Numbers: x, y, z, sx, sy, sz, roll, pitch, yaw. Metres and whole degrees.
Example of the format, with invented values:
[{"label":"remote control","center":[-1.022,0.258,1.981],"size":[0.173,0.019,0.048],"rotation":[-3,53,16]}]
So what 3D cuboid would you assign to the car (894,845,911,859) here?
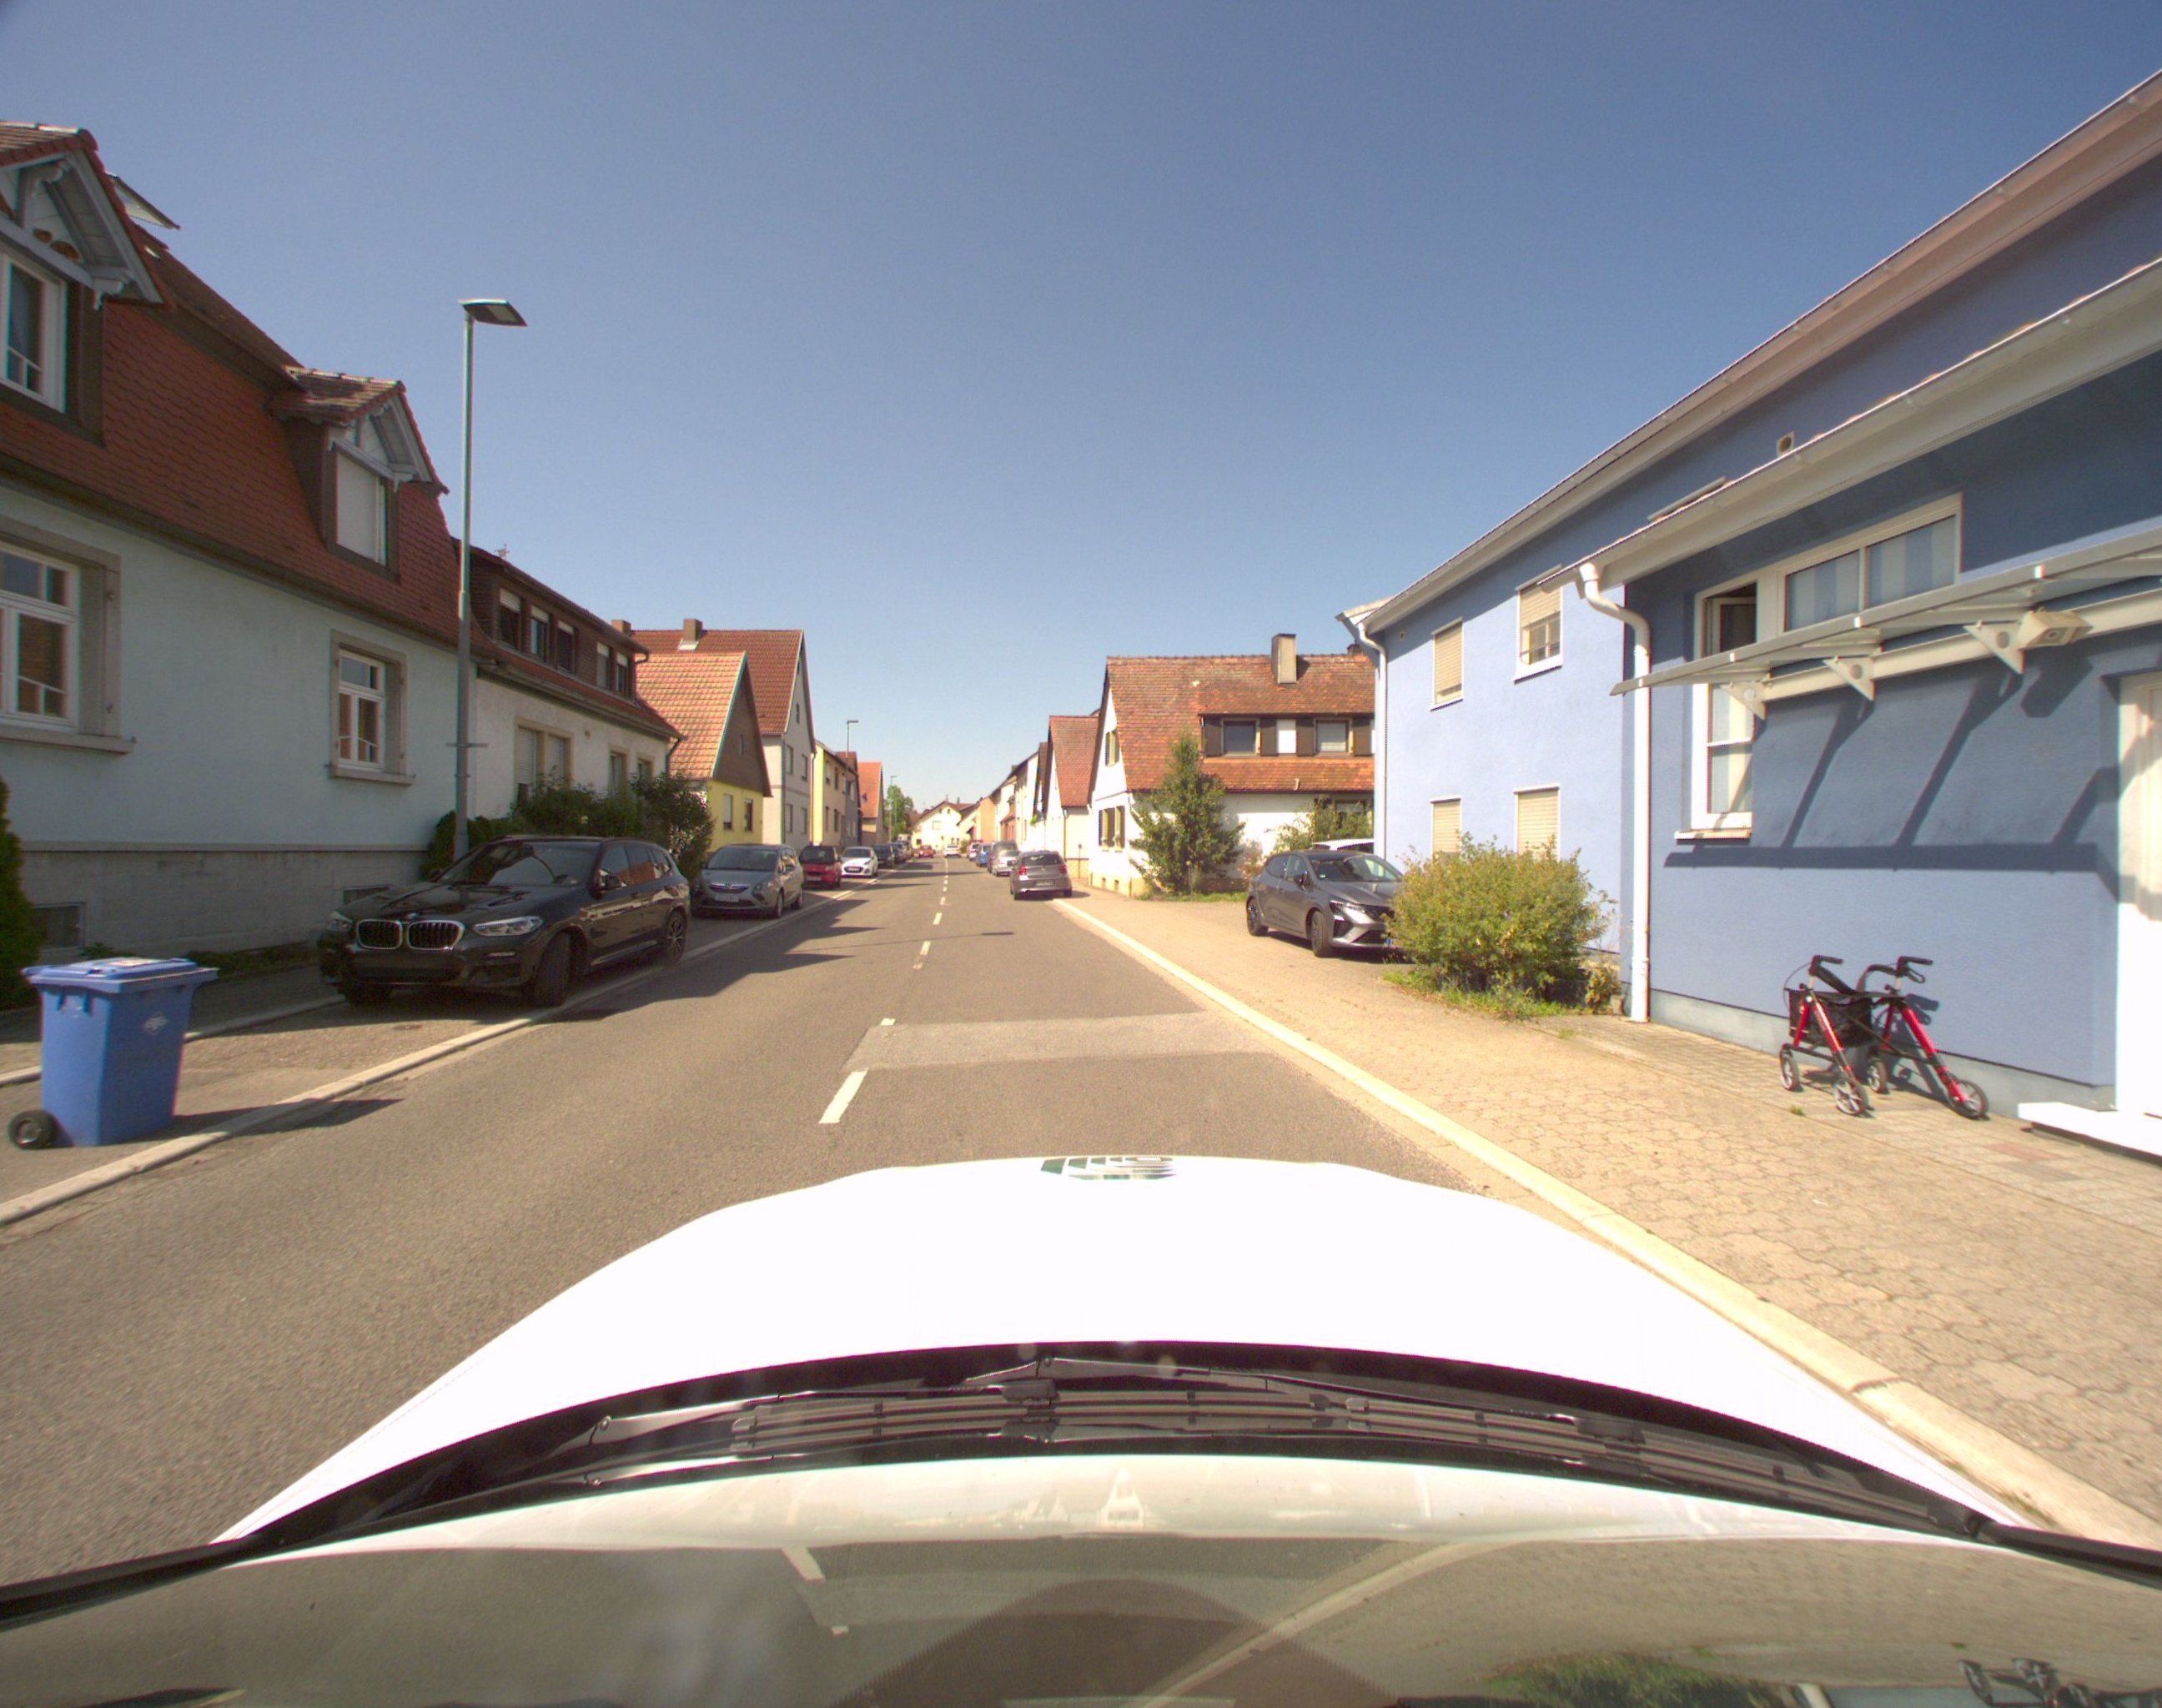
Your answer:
[{"label":"car","center":[-17.976,-0.196,82.211],"size":[1.527,1.356,3.613],"rotation":[1,0,-10]}]

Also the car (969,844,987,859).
[{"label":"car","center":[-10.436,-0.270,82.421],"size":[1.766,1.433,3.440],"rotation":[0,0,-9]}]

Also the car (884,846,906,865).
[{"label":"car","center":[-14.849,0.113,65.092],"size":[1.504,1.453,3.498],"rotation":[0,0,-9]}]

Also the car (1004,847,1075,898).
[{"label":"car","center":[-1.344,0.512,24.971],"size":[1.705,1.433,3.876],"rotation":[-1,0,-10]}]

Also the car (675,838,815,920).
[{"label":"car","center":[-7.532,0.497,18.768],"size":[1.872,1.636,4.650],"rotation":[1,0,-8]}]

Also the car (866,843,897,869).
[{"label":"car","center":[-12.980,0.120,53.129],"size":[1.619,1.577,3.948],"rotation":[1,0,-10]}]

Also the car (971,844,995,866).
[{"label":"car","center":[-6.881,0.056,57.063],"size":[1.420,1.515,3.293],"rotation":[1,0,-10]}]

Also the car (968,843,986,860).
[{"label":"car","center":[-9.523,-0.238,74.524],"size":[1.420,1.515,3.293],"rotation":[1,0,-10]}]

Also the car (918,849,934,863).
[{"label":"car","center":[-17.191,0.210,90.334],"size":[1.601,1.489,3.613],"rotation":[1,0,-10]}]

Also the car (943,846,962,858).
[{"label":"car","center":[-14.437,-0.210,91.427],"size":[1.993,1.288,3.987],"rotation":[0,0,-9]}]

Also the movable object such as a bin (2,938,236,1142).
[{"label":"movable object such as a bin","center":[-5.194,0.977,4.435],"size":[0.596,0.982,0.529],"rotation":[1,0,-8]}]

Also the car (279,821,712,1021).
[{"label":"car","center":[-6.074,0.596,9.347],"size":[1.918,1.668,4.655],"rotation":[2,0,-7]}]

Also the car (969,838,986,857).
[{"label":"car","center":[-11.153,-0.698,87.681],"size":[1.766,2.004,3.440],"rotation":[0,0,-9]}]

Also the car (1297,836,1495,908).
[{"label":"car","center":[7.636,0.413,19.983],"size":[4.165,1.657,1.810],"rotation":[0,0,-4]}]

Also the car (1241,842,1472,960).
[{"label":"car","center":[3.774,0.583,11.981],"size":[1.687,1.420,4.137],"rotation":[1,0,-6]}]

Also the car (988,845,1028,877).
[{"label":"car","center":[-3.735,0.337,41.357],"size":[1.704,1.496,3.440],"rotation":[1,0,-10]}]

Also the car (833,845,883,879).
[{"label":"car","center":[-10.963,0.380,40.257],"size":[1.805,1.547,4.391],"rotation":[1,0,-8]}]

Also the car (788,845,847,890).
[{"label":"car","center":[-9.628,0.457,29.985],"size":[1.552,1.544,2.979],"rotation":[1,0,-8]}]

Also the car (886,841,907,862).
[{"label":"car","center":[-15.713,-0.220,69.395],"size":[1.527,1.713,3.613],"rotation":[1,0,-10]}]

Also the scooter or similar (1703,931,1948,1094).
[{"label":"scooter or similar","center":[4.450,0.918,4.933],"size":[0.726,0.814,0.827],"rotation":[0,0,-2]}]

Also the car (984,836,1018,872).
[{"label":"car","center":[-4.576,-0.017,46.447],"size":[1.649,1.910,3.613],"rotation":[1,0,-10]}]
